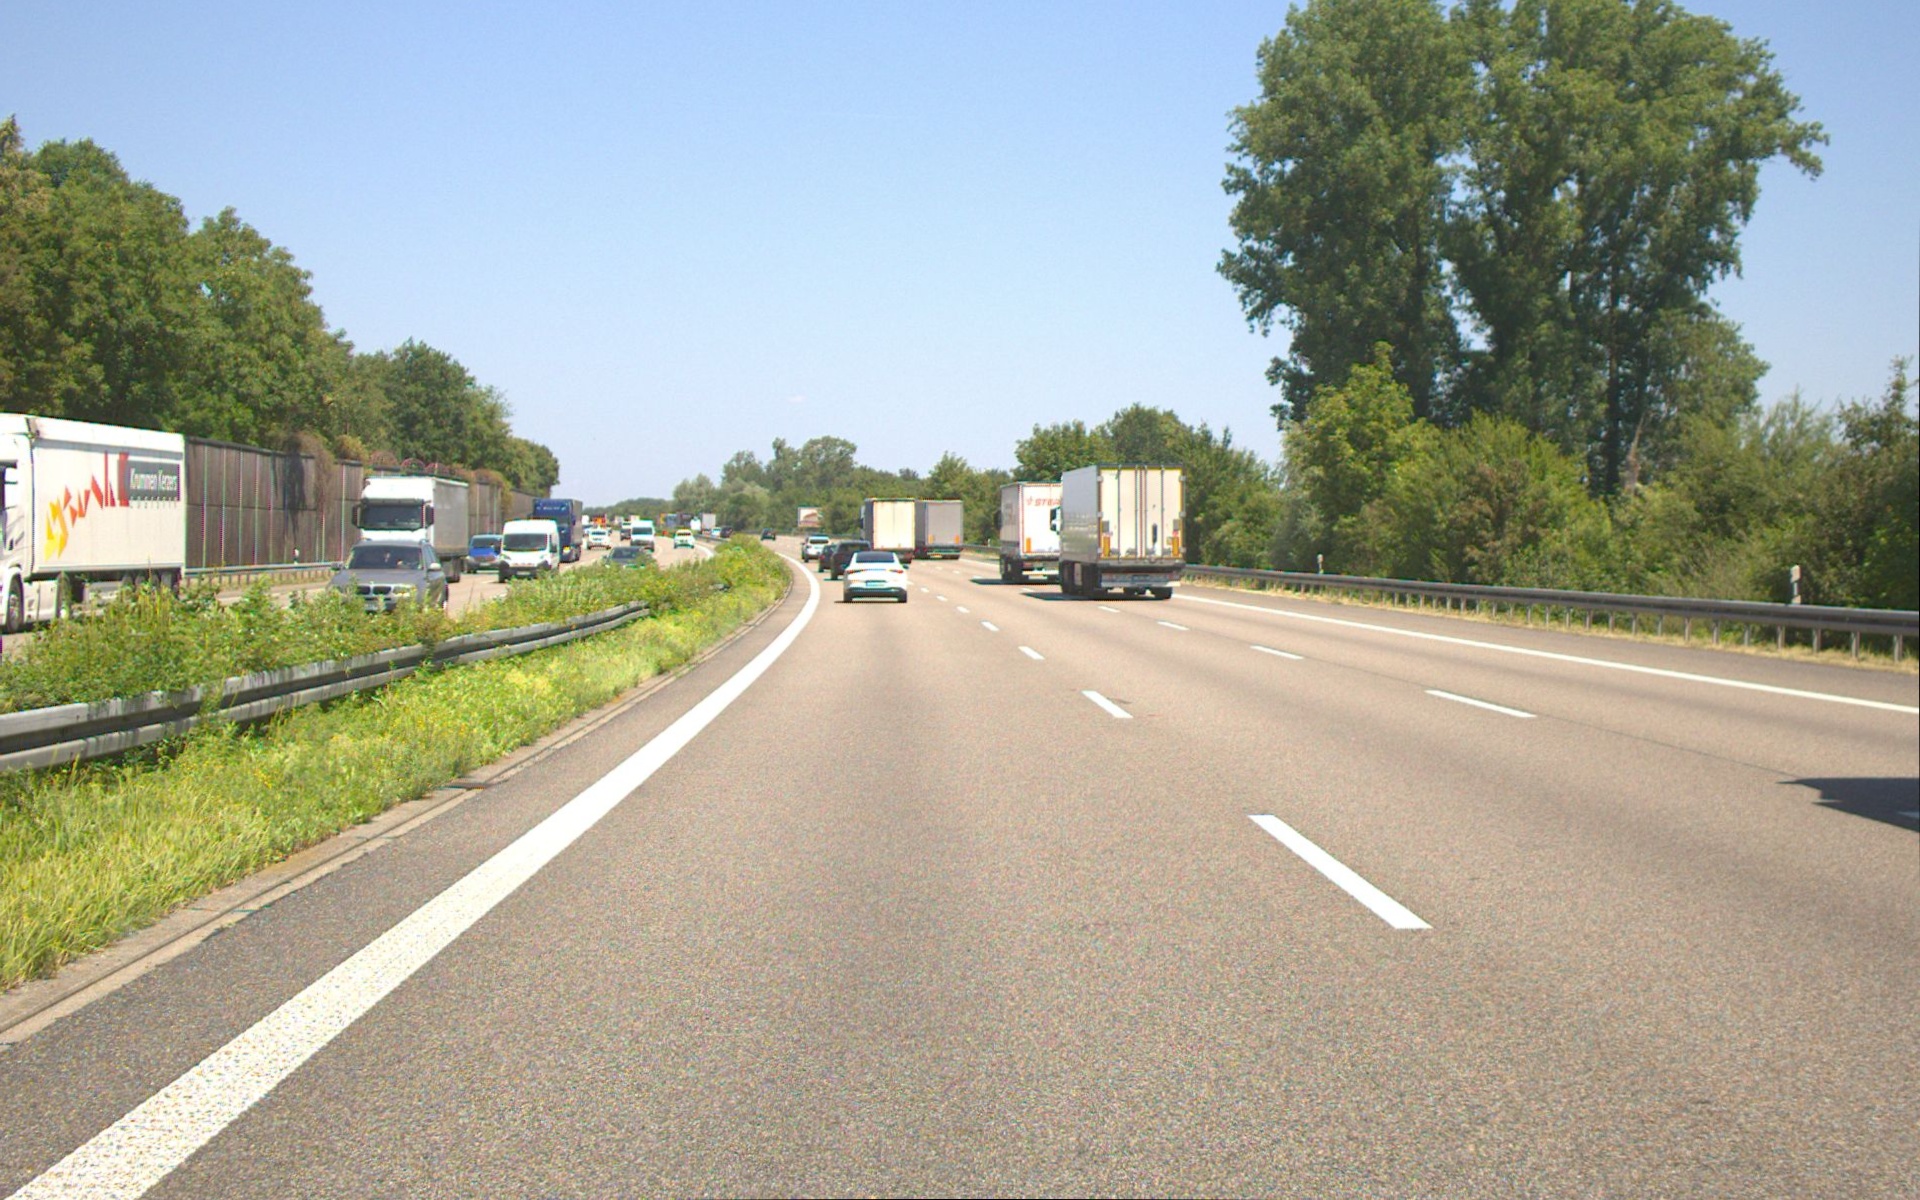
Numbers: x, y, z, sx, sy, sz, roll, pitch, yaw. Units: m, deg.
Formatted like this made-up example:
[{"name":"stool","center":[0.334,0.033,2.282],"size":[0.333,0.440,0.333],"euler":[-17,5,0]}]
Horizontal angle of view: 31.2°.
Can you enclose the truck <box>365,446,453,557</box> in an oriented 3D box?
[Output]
[{"name":"truck","center":[-20.553,-3.649,128.398],"size":[2.502,4.041,6.363],"euler":[0,1,-2]}]

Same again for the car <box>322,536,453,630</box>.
[{"name":"car","center":[-10.288,-0.328,62.043],"size":[1.766,1.646,4.039],"euler":[0,1,-1]}]

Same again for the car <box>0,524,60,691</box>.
[{"name":"car","center":[-9.703,0.064,31.815],"size":[1.713,1.538,4.362],"euler":[0,1,-2]}]

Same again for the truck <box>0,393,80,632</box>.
[{"name":"truck","center":[-18.202,-1.567,62.955],"size":[2.730,4.178,6.037],"euler":[0,1,-1]}]

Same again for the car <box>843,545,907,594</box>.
[{"name":"car","center":[-2.429,-0.883,98.908],"size":[1.715,1.365,3.375],"euler":[0,1,0]}]

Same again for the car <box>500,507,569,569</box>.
[{"name":"car","center":[-16.982,-2.471,137.407],"size":[2.080,2.393,6.043],"euler":[0,1,-1]}]

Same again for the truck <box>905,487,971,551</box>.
[{"name":"truck","center":[-1.589,-5.550,239.024],"size":[3.829,4.296,11.556],"euler":[0,1,-4]}]

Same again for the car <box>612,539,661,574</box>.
[{"name":"car","center":[-13.219,-1.791,140.708],"size":[1.760,1.423,3.935],"euler":[0,1,-2]}]

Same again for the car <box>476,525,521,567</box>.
[{"name":"car","center":[-22.580,-2.642,168.384],"size":[1.801,2.007,4.001],"euler":[0,1,-2]}]

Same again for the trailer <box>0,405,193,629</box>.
[{"name":"trailer","center":[-18.370,-1.592,69.659],"size":[2.754,4.060,14.390],"euler":[0,1,-1]}]

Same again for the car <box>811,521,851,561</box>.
[{"name":"car","center":[-6.643,-3.058,177.679],"size":[1.993,2.007,4.000],"euler":[0,1,-1]}]

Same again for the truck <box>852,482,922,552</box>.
[{"name":"truck","center":[-4.693,-5.207,218.278],"size":[3.579,4.296,12.193],"euler":[0,1,-5]}]

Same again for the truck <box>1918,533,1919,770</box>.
[{"name":"truck","center":[7.662,-0.982,19.887],"size":[2.605,4.272,5.436],"euler":[0,1,-1]}]

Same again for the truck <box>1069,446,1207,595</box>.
[{"name":"truck","center":[5.346,-2.376,105.594],"size":[3.492,4.296,10.989],"euler":[0,1,-1]}]

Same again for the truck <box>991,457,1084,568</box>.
[{"name":"truck","center":[3.089,-3.494,140.039],"size":[3.359,4.296,10.829],"euler":[0,1,-1]}]

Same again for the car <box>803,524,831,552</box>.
[{"name":"car","center":[-9.240,-4.008,222.046],"size":[1.723,1.777,4.000],"euler":[0,1,-1]}]

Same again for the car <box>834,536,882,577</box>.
[{"name":"car","center":[-4.463,-1.903,150.325],"size":[1.993,1.766,4.000],"euler":[0,1,0]}]
